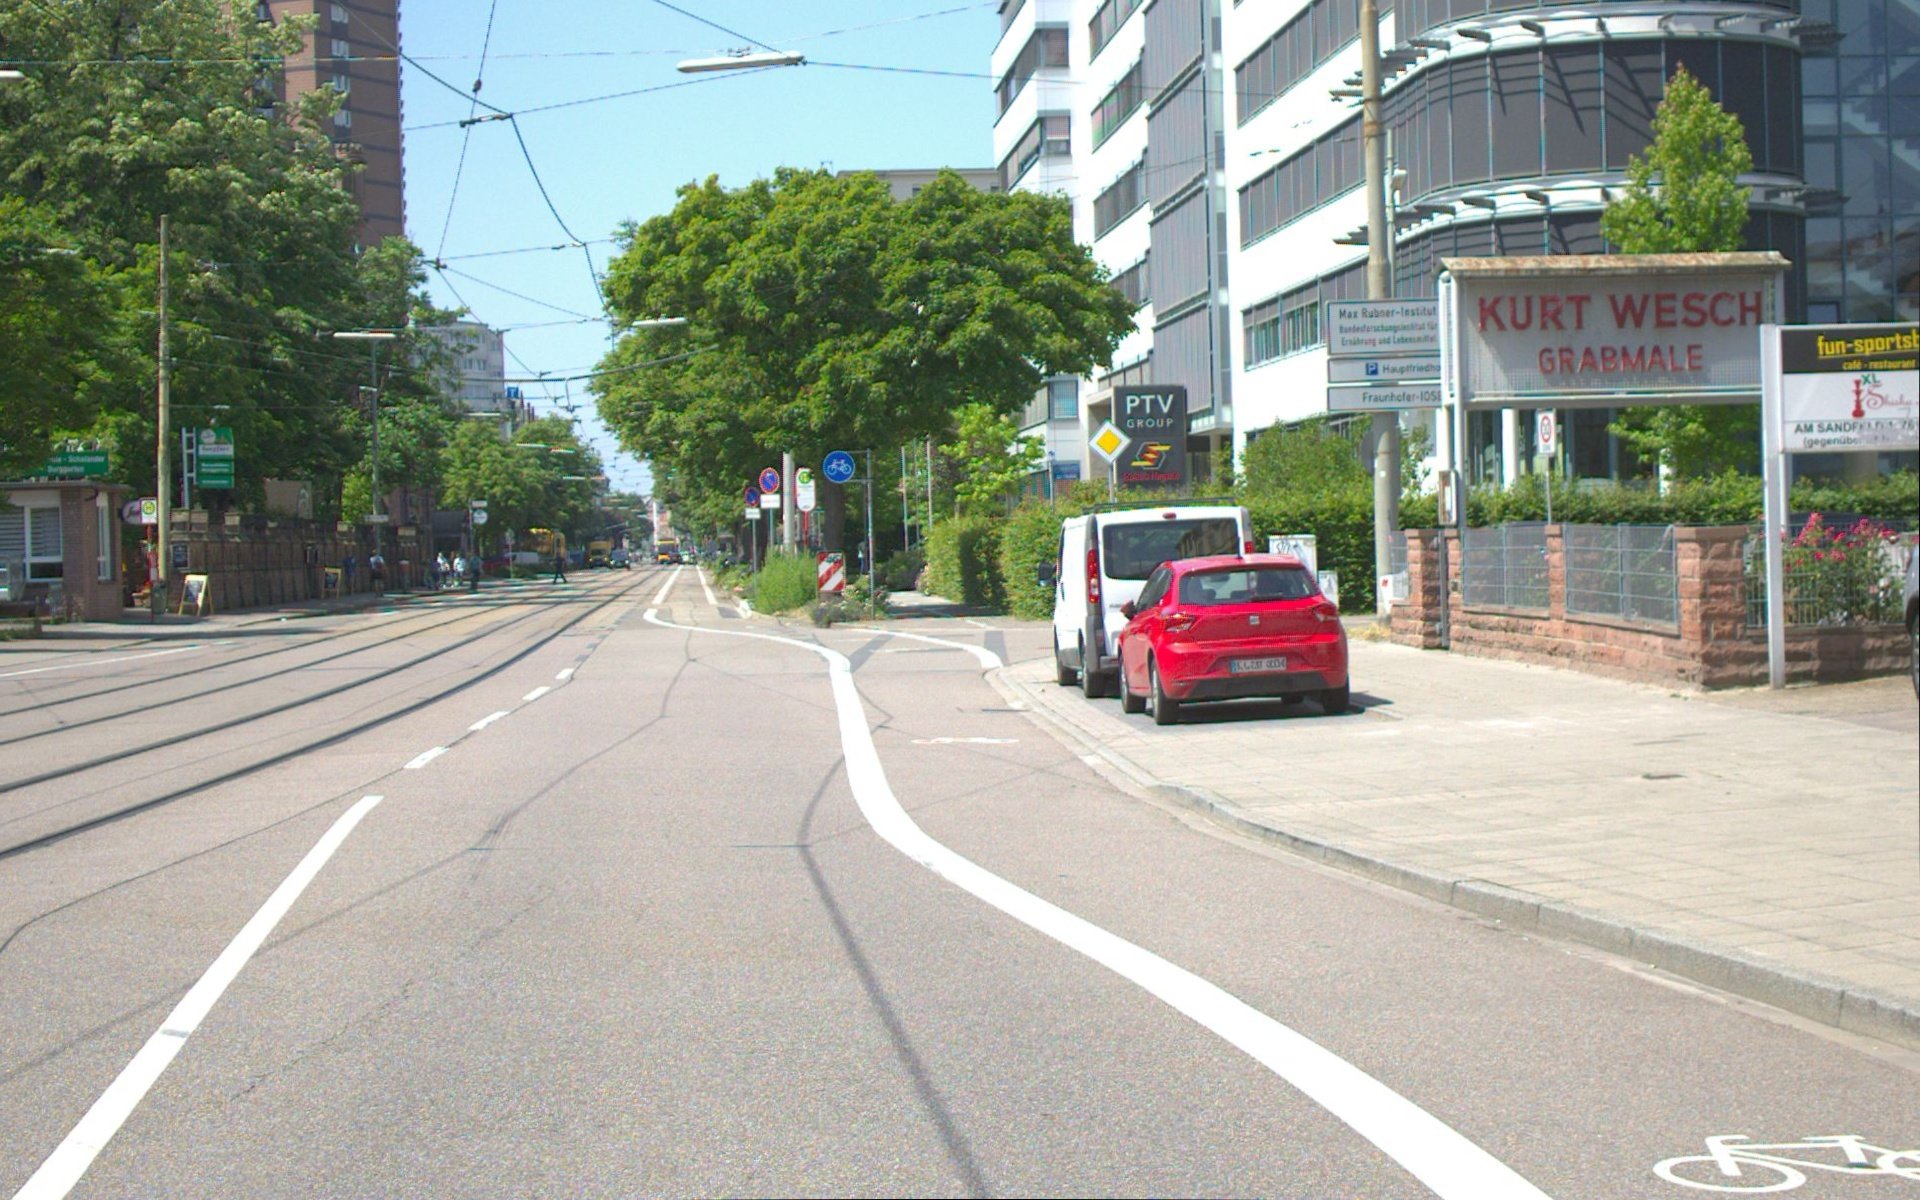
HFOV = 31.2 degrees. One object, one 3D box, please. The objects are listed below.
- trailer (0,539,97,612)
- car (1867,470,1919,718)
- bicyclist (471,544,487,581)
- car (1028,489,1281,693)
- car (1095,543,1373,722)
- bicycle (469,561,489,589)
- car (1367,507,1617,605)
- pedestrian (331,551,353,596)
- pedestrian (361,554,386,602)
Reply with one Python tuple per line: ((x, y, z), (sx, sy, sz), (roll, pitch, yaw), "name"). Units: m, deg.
((-22.393, -0.593, 82.792), (2.830, 1.698, 1.621), (-1, 1, -3), "trailer")
((7.215, -0.081, 21.079), (1.878, 1.619, 4.640), (-4, 1, -1), "car")
((-21.738, -1.695, 155.299), (0.642, 1.674, 0.815), (-2, 1, -5), "bicyclist")
((2.055, -0.139, 38.061), (1.993, 1.985, 5.515), (-3, 1, -4), "car")
((2.423, 0.242, 31.391), (1.993, 1.437, 4.017), (-3, 1, -2), "car")
((-21.720, -1.144, 155.206), (0.701, 1.200, 2.241), (-3, 1, -5), "bicycle")
((8.449, -0.714, 54.743), (3.600, 1.446, 1.759), (-1, 1, -4), "car")
((-23.942, -1.042, 133.137), (0.743, 1.722, 0.867), (-1, 1, -5), "pedestrian")
((-21.976, -0.834, 128.798), (0.814, 1.764, 0.925), (-1, 1, -5), "pedestrian")
